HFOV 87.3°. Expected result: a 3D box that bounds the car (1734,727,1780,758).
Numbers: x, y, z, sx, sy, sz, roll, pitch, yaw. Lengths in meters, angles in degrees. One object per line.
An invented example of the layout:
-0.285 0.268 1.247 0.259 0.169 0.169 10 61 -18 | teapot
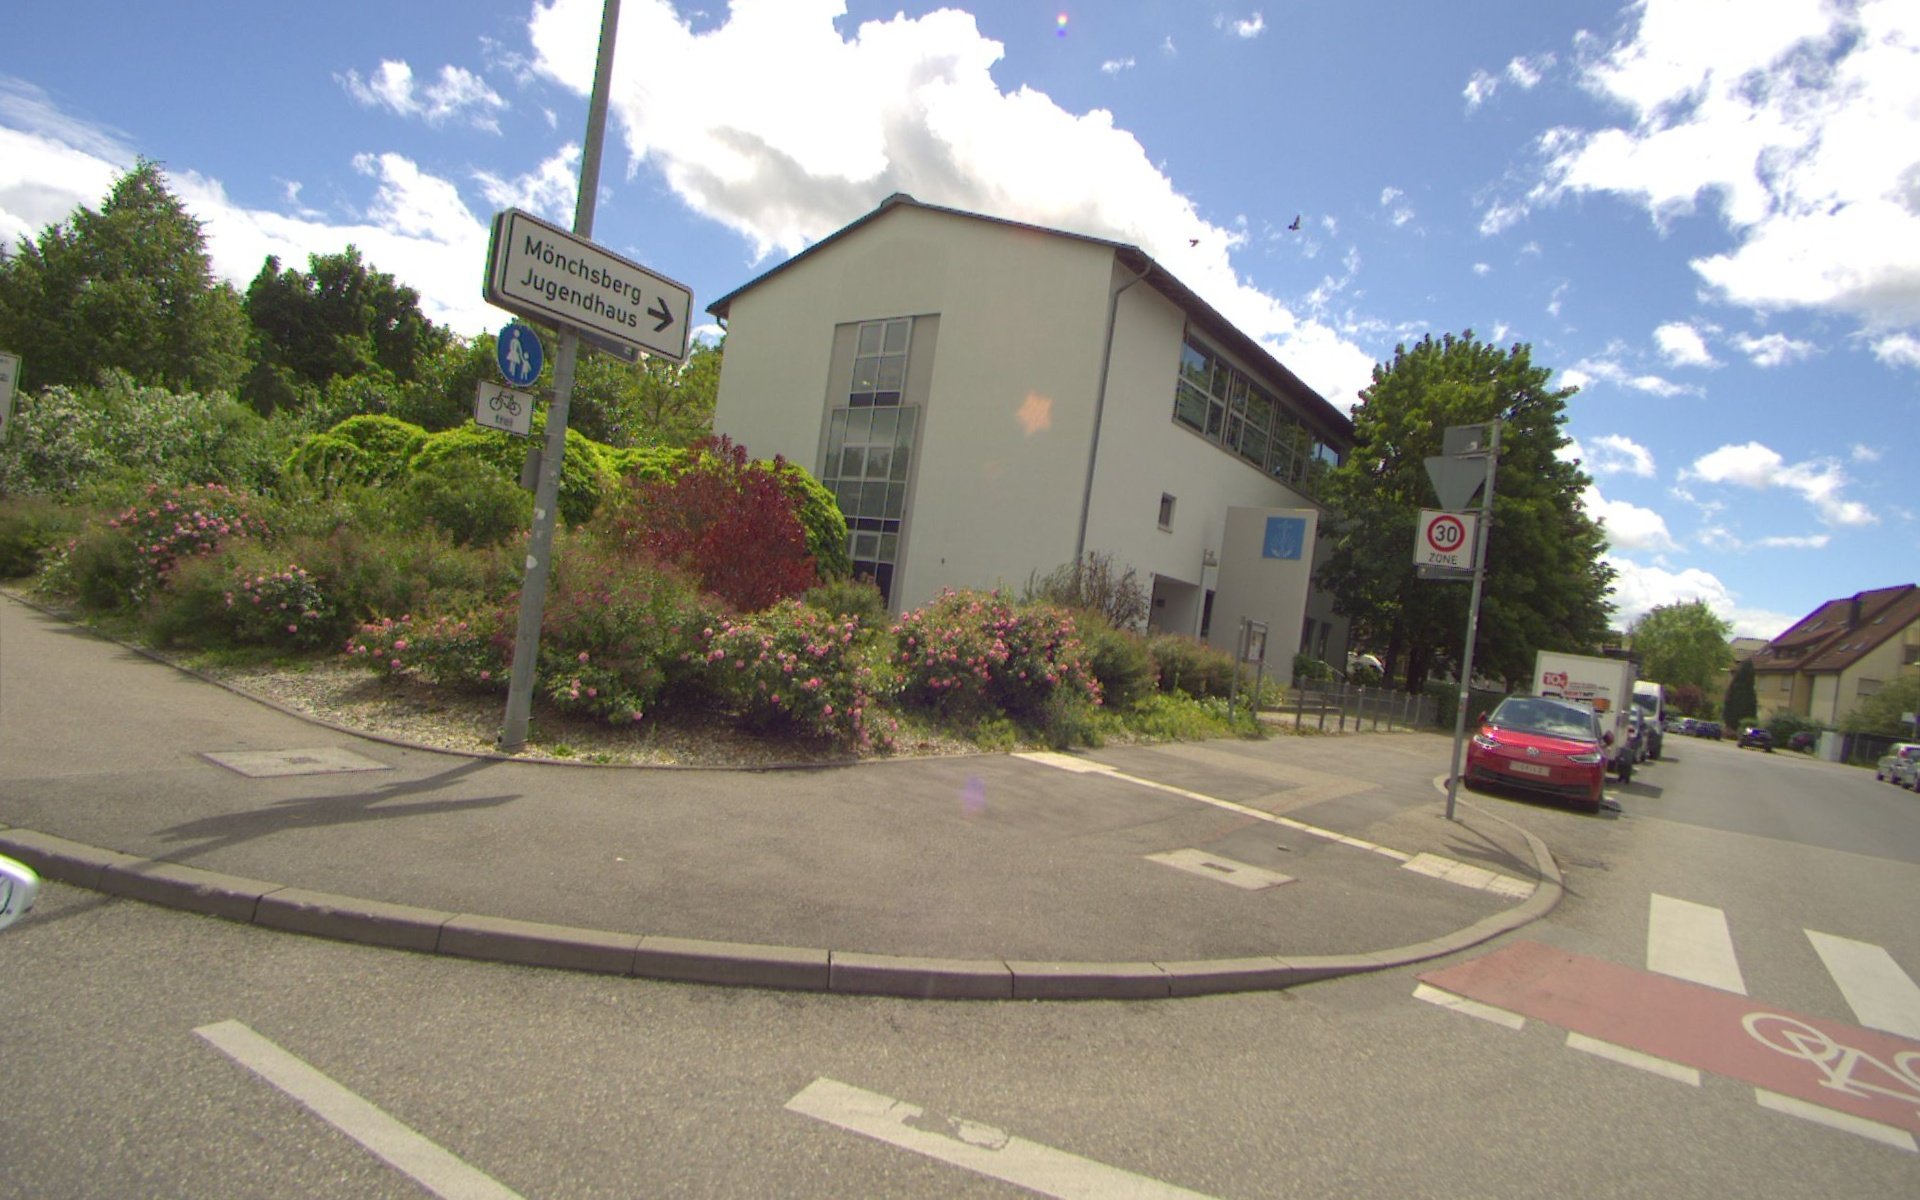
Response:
52.713 9.393 66.570 1.969 1.578 4.081 7 -1 35 | car

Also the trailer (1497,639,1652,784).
13.408 2.410 21.812 2.187 2.516 4.539 8 -1 37 | trailer

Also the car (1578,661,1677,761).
22.989 3.796 34.522 2.171 2.900 5.576 7 -1 38 | car

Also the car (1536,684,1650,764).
15.981 3.057 25.300 1.969 1.521 4.080 8 0 37 | car

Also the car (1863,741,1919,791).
36.775 6.486 39.157 1.764 1.609 3.990 7 -1 35 | car

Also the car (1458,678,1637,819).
9.341 2.247 15.876 1.967 1.580 4.161 10 0 34 | car

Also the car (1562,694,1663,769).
19.103 3.816 29.373 1.881 1.744 3.985 7 -1 40 | car

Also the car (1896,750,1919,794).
33.616 6.018 34.338 1.820 1.381 3.990 8 -1 36 | car
